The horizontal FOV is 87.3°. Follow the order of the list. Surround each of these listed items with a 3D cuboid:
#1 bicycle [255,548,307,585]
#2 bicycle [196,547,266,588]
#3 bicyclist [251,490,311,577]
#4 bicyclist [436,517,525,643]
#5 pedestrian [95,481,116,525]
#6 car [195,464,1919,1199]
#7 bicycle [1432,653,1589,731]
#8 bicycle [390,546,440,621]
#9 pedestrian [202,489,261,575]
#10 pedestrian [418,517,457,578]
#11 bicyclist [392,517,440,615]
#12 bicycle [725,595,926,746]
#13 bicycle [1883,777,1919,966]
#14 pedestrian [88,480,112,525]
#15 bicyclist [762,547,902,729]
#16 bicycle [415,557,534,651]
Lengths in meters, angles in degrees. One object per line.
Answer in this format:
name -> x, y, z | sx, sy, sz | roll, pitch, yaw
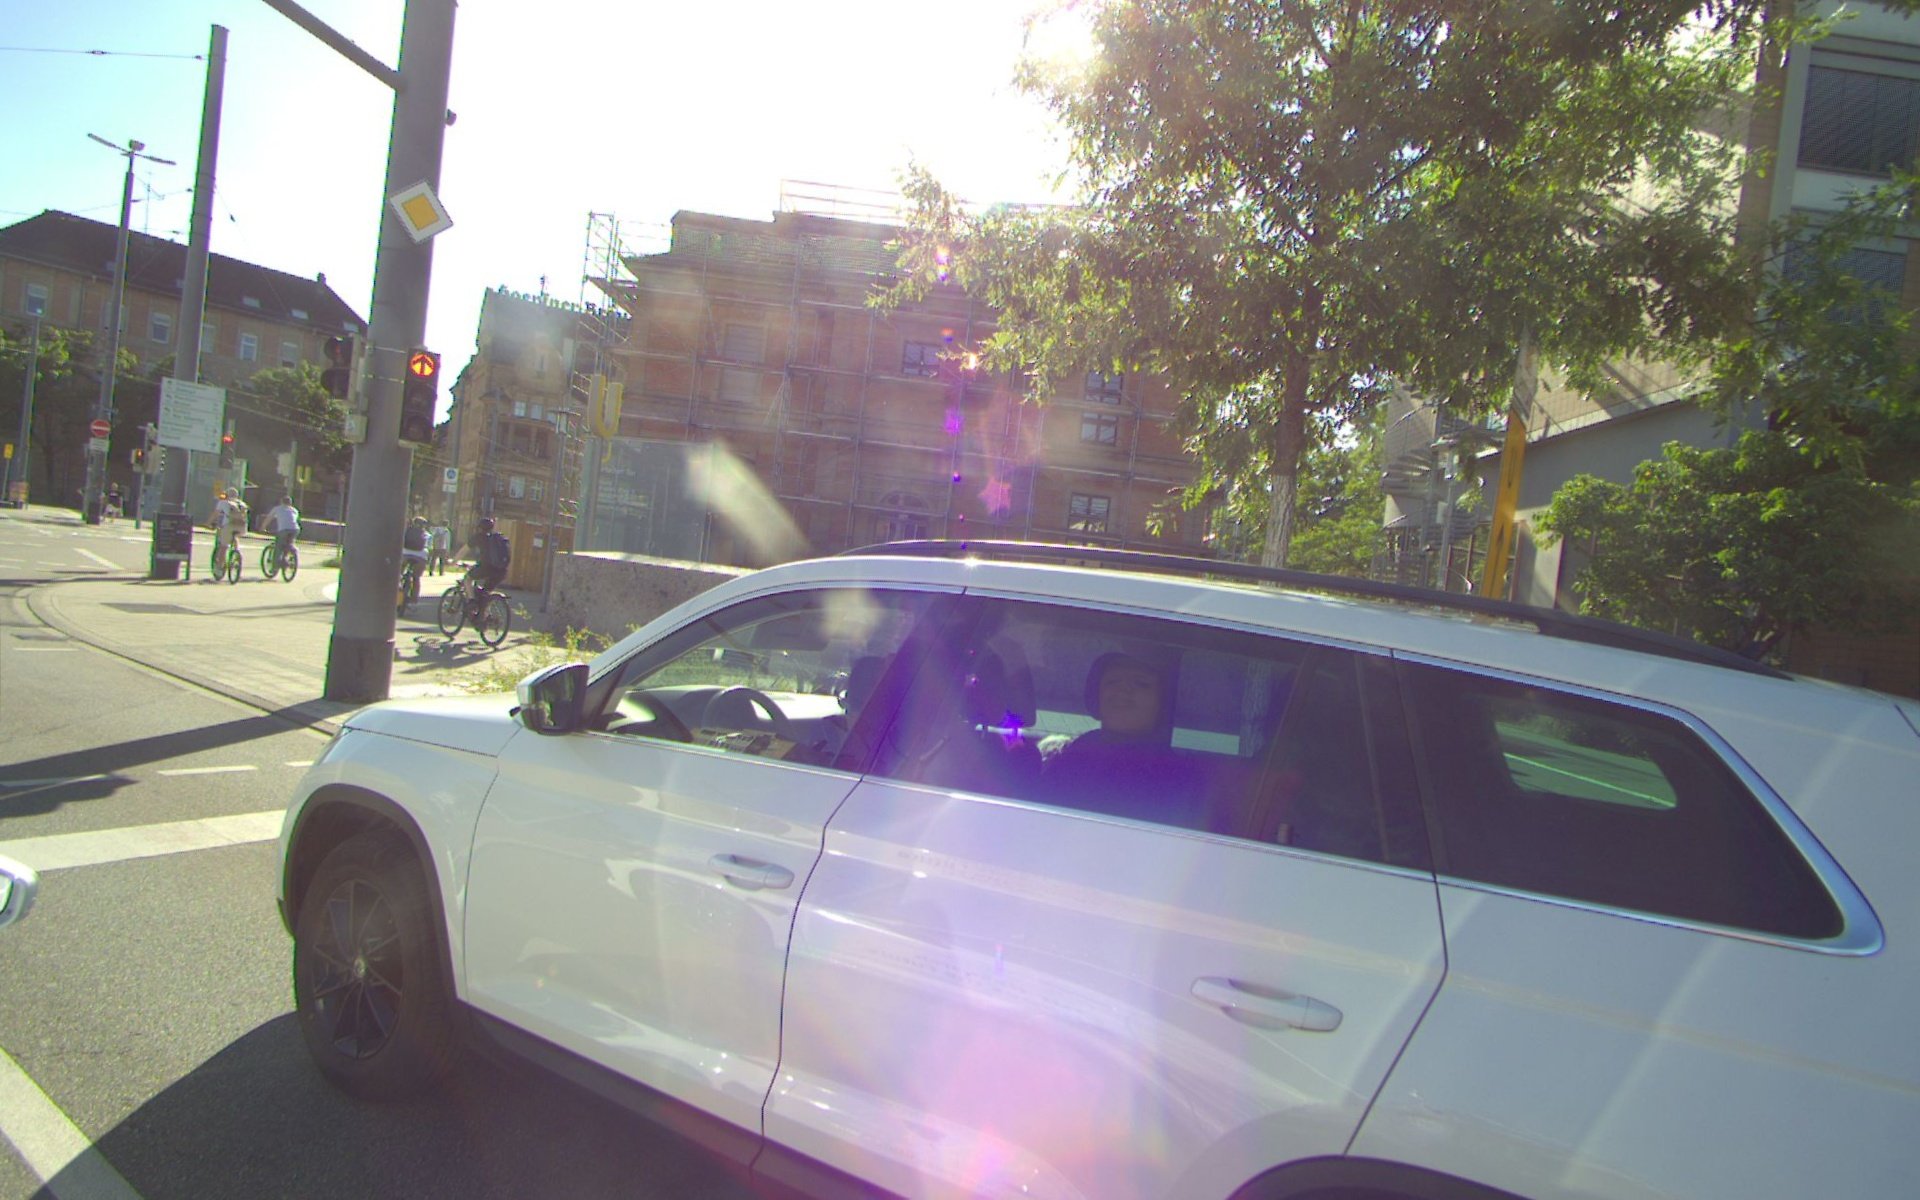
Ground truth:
bicycle -> -15.030, -0.735, 22.259 | 1.446, 0.664, 0.536 | 7, 2, 39
bicycle -> -14.609, -0.651, 20.148 | 1.697, 0.664, 0.537 | 7, 3, 33
bicyclist -> -15.019, -1.472, 22.256 | 0.910, 1.802, 0.746 | 8, 2, 39
bicyclist -> -6.762, -0.279, 14.181 | 0.978, 1.660, 0.625 | 7, 4, 33
pedestrian -> -41.405, -4.712, 48.730 | 0.443, 2.039, 0.462 | 7, 2, 14
car -> 0.018, 0.698, 2.677 | 4.224, 1.662, 1.697 | 7, 0, 30
bicycle -> 13.081, 2.171, 23.996 | 3.079, 1.395, 0.798 | 7, 1, 8
bicycle -> -9.348, -0.303, 17.231 | 0.567, 1.140, 1.724 | 4, 3, -33
pedestrian -> -14.506, -1.356, 20.033 | 0.844, 1.582, 0.549 | 7, 1, 33
pedestrian -> -17.057, -1.709, 32.877 | 0.887, 1.883, 0.922 | 6, 1, -23
bicyclist -> -9.299, -0.590, 17.176 | 0.567, 1.590, 0.938 | 4, 3, -33
bicycle -> -1.349, 0.662, 9.866 | 1.853, 1.178, 0.685 | 7, 0, 35
bicycle -> 6.548, 1.723, 5.722 | 1.738, 1.059, 0.516 | 7, 3, 30
pedestrian -> -41.039, -4.651, 48.032 | 0.443, 2.039, 0.574 | 7, 1, 14
bicyclist -> -1.247, 0.366, 9.819 | 0.961, 1.618, 0.685 | 8, 0, 35
bicycle -> -6.902, 0.037, 14.274 | 1.820, 1.129, 0.625 | 7, 4, 33
